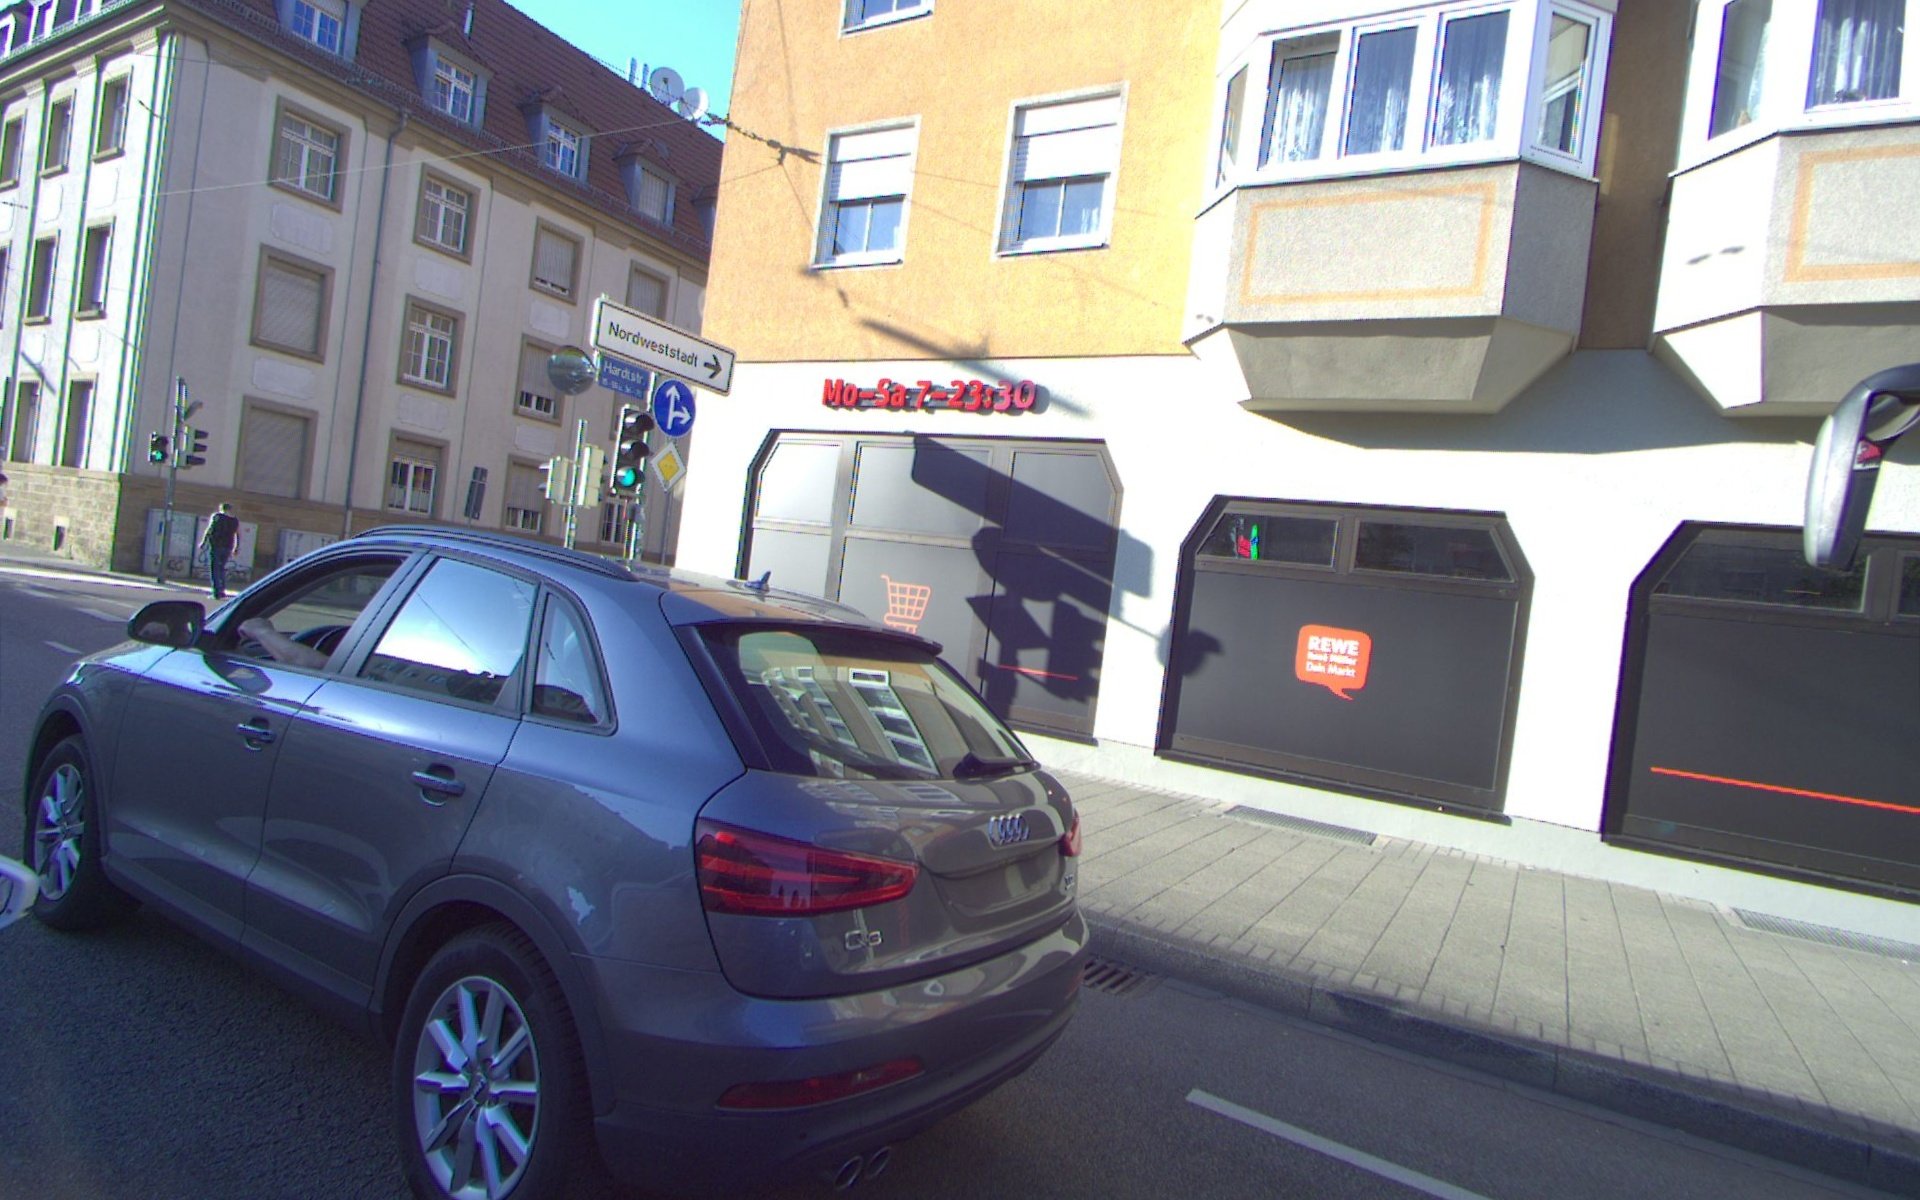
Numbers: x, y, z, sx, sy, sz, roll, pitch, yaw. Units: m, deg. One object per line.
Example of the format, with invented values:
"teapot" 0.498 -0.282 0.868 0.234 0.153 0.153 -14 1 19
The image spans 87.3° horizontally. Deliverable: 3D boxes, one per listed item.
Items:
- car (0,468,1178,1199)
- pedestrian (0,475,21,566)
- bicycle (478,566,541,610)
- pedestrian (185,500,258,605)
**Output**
"car" -1.603 0.575 3.521 4.155 1.570 1.701 7 -2 32
"pedestrian" -19.564 -1.652 20.084 0.810 1.783 0.837 6 -1 31
"bicycle" -12.486 -0.320 27.915 1.499 1.029 0.247 9 -2 -43
"pedestrian" -13.420 -0.860 18.289 0.812 1.778 0.630 6 -1 32
